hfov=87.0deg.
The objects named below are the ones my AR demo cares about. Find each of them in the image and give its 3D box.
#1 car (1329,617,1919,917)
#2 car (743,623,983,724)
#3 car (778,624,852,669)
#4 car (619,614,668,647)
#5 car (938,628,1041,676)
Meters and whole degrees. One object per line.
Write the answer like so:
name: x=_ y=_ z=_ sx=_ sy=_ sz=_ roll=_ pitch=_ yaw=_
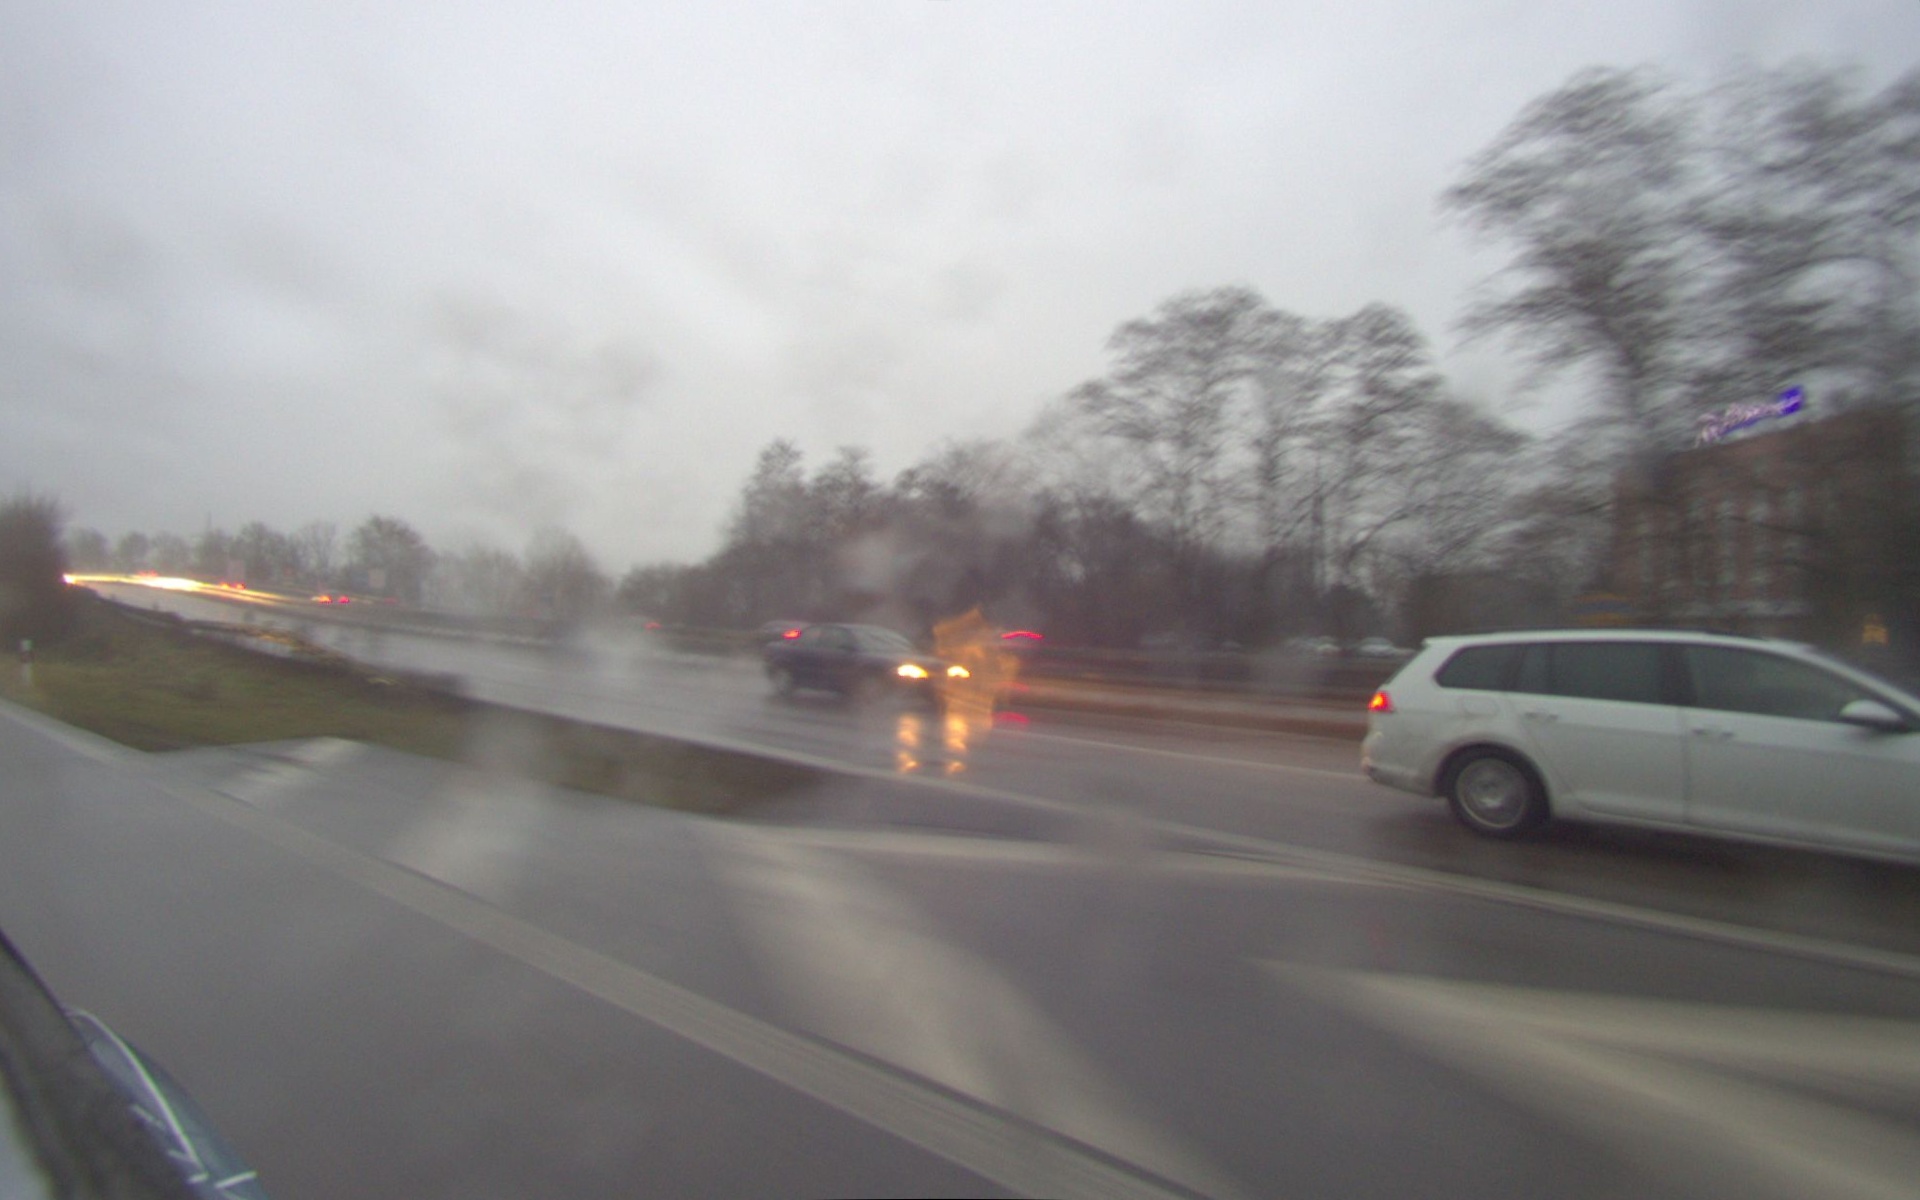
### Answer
car: x=5.082 y=0.917 z=6.449 sx=1.924 sy=1.532 sz=4.791 roll=4 pitch=-4 yaw=-43
car: x=-1.875 y=1.215 z=18.242 sx=1.755 sy=1.546 sz=4.706 roll=2 pitch=-2 yaw=-44
car: x=-7.073 y=2.228 z=49.094 sx=1.967 sy=2.029 sz=4.010 roll=0 pitch=-1 yaw=-35
car: x=-20.296 y=1.939 z=64.796 sx=1.886 sy=2.029 sz=4.011 roll=1 pitch=-1 yaw=-34
car: x=0.980 y=1.761 z=35.200 sx=1.440 sy=1.577 sz=3.654 roll=1 pitch=-2 yaw=-43
